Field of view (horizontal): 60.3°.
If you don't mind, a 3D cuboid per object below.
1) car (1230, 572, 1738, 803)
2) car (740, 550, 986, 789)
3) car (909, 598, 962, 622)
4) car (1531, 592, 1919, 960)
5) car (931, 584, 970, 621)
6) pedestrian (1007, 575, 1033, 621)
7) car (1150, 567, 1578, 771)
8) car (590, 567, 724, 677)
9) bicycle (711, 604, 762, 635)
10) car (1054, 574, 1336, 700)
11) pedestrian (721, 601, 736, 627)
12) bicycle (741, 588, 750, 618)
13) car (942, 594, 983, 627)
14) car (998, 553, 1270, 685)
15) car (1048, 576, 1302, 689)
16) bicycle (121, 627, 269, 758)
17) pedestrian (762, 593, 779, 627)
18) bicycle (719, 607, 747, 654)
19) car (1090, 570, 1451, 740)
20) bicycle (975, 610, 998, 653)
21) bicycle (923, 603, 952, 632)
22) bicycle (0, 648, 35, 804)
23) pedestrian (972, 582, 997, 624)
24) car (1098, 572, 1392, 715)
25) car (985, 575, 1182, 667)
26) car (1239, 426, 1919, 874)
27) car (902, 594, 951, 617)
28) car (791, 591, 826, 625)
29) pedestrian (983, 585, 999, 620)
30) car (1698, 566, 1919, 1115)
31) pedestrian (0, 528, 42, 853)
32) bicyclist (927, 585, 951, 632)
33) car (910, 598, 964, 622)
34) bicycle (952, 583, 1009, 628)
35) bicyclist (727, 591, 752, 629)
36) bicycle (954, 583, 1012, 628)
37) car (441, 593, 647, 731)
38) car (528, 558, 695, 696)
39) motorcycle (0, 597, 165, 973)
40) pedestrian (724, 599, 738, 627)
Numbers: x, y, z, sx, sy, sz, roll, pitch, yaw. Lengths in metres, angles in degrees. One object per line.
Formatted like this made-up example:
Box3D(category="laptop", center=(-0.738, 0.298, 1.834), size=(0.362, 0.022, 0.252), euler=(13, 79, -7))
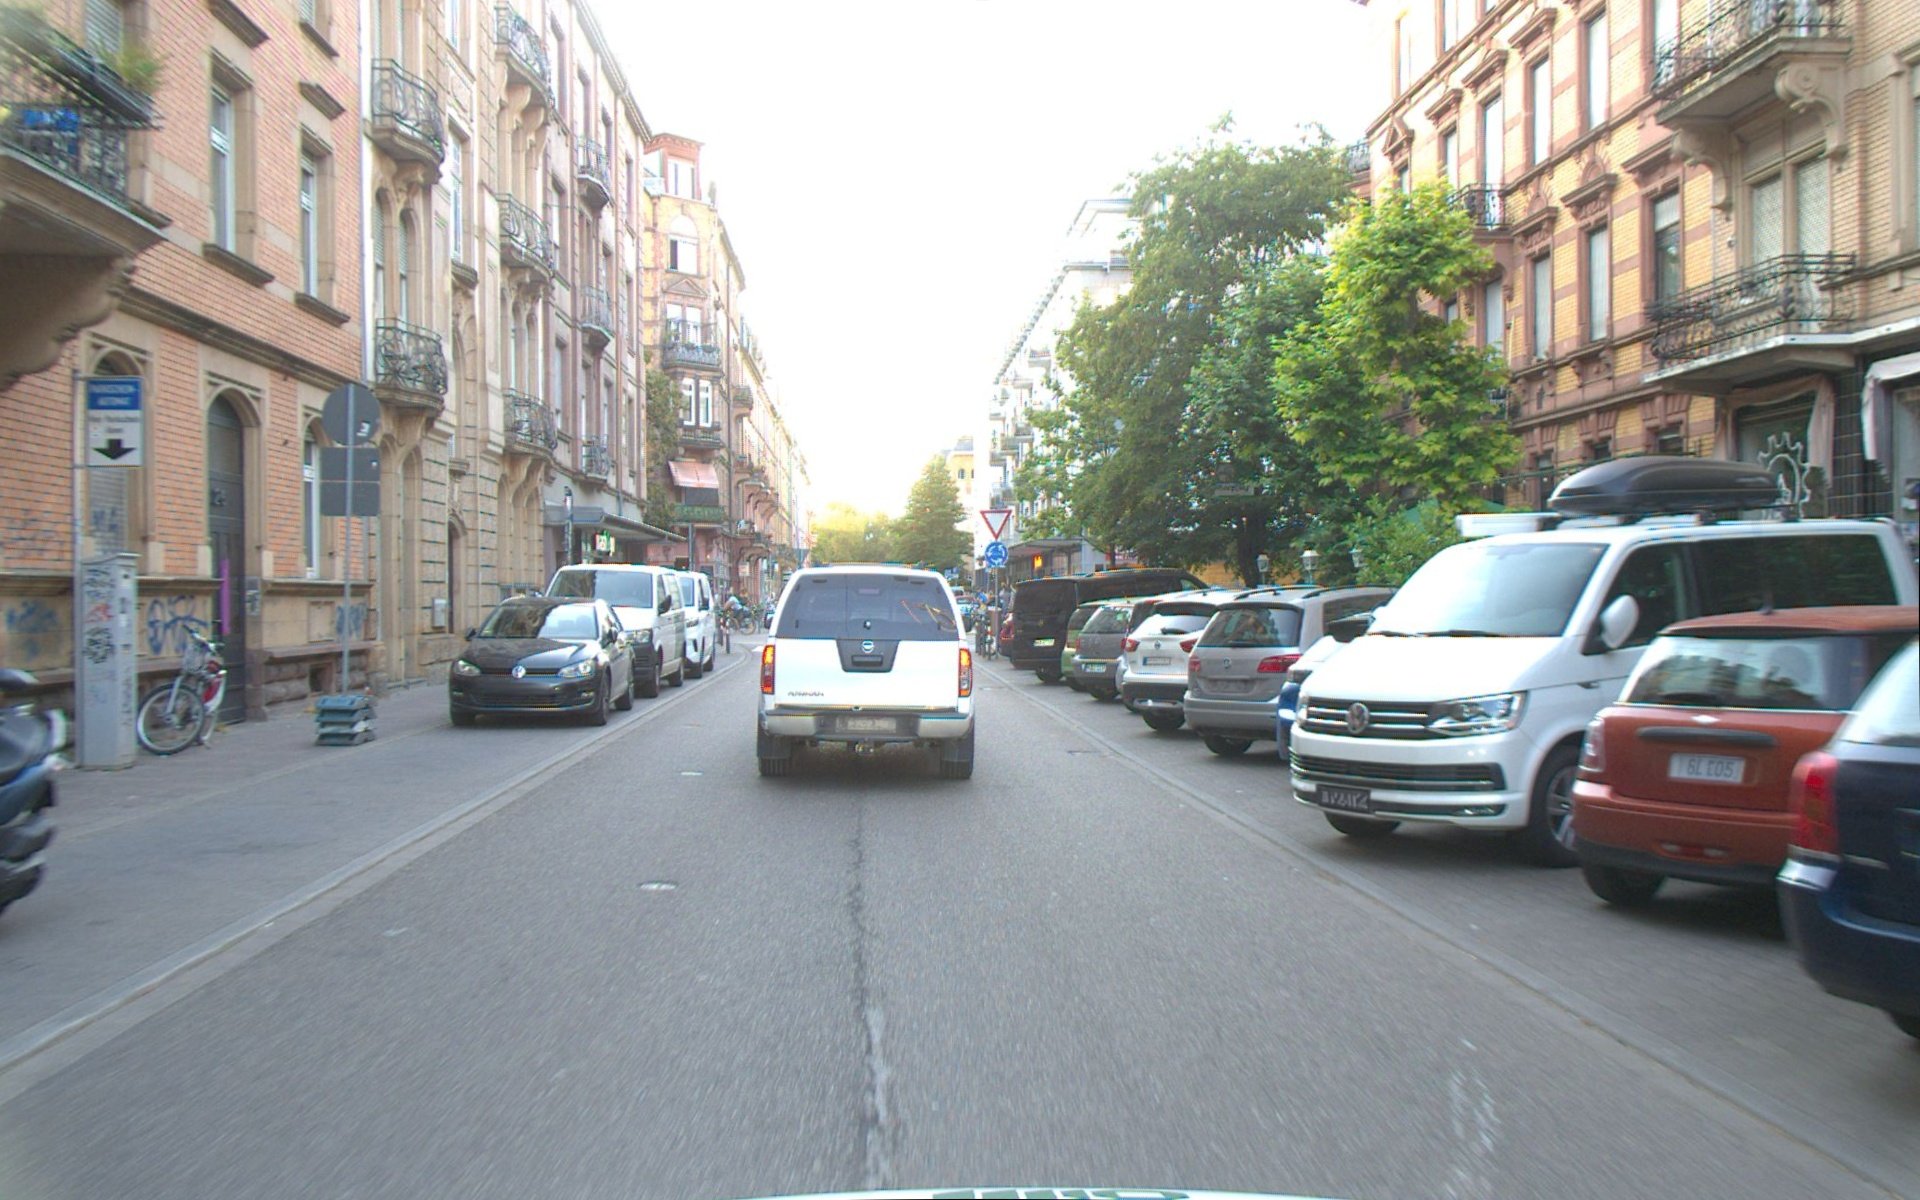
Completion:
Box3D(category="car", center=(4.434, 0.617, 13.840), size=(4.113, 1.618, 1.865), euler=(-1, 1, -32))
Box3D(category="car", center=(-0.734, 0.566, 15.440), size=(1.898, 1.842, 5.001), euler=(1, -1, 0))
Box3D(category="car", center=(-1.894, 0.768, 126.104), size=(3.909, 1.780, 1.839), euler=(1, -1, -5))
Box3D(category="car", center=(4.809, 0.691, 8.426), size=(3.826, 1.433, 1.736), euler=(-1, -1, -37))
Box3D(category="car", center=(-0.542, 0.150, 92.576), size=(1.904, 1.967, 3.996), euler=(1, -1, -4))
Box3D(category="pedestrian", center=(2.558, -0.088, 70.211), size=(0.896, 1.918, 0.608), euler=(1, -1, -34))
Box3D(category="car", center=(4.084, 0.585, 16.485), size=(4.118, 1.618, 1.863), euler=(-4, 2, -35))
Box3D(category="car", center=(-5.765, 0.387, 32.022), size=(2.068, 1.955, 5.021), euler=(0, 0, -5))
Box3D(category="bicycle", center=(-8.871, 0.768, 65.650), size=(1.889, 1.192, 0.597), euler=(1, -1, 5))
Box3D(category="car", center=(3.584, 0.514, 24.980), size=(4.063, 1.578, 1.796), euler=(-4, 1, -35))
Box3D(category="pedestrian", center=(-10.818, 0.667, 77.270), size=(0.636, 1.211, 0.539), euler=(1, -1, -7))
Box3D(category="bicycle", center=(-10.539, 0.145, 81.083), size=(0.416, 1.468, 1.901), euler=(1, -1, -8))
Box3D(category="car", center=(0.096, 0.543, 83.821), size=(1.798, 1.569, 3.996), euler=(1, -1, -4))
Box3D(category="car", center=(3.352, 0.294, 30.991), size=(5.392, 2.108, 1.904), euler=(-4, 1, -42))
Box3D(category="car", center=(3.630, 0.504, 27.666), size=(4.063, 1.578, 1.796), euler=(-4, 1, -35))
Box3D(category="bicycle", center=(-7.148, 0.833, 15.554), size=(0.736, 1.120, 2.020), euler=(1, -1, -10))
Box3D(category="pedestrian", center=(-9.386, 0.493, 81.779), size=(0.782, 1.649, 0.943), euler=(1, -1, -6))
Box3D(category="bicycle", center=(-5.819, 0.773, 42.427), size=(0.462, 1.162, 1.784), euler=(1, -1, 0))
Box3D(category="car", center=(3.685, 0.572, 19.383), size=(4.061, 1.618, 1.797), euler=(-4, 1, -35))
Box3D(category="bicycle", center=(0.683, 0.810, 42.830), size=(0.357, 1.082, 1.550), euler=(1, -1, -7))
Box3D(category="bicycle", center=(-0.951, 0.745, 70.598), size=(0.824, 1.192, 1.929), euler=(1, -1, -13))
Box3D(category="bicycle", center=(-6.732, 0.858, 10.807), size=(0.439, 1.048, 1.739), euler=(1, -1, -2))
Box3D(category="pedestrian", center=(1.045, 0.145, 70.229), size=(0.888, 1.767, 0.613), euler=(1, -1, -15))
Box3D(category="car", center=(3.959, 0.537, 22.616), size=(4.074, 1.618, 1.791), euler=(-4, 1, -42))
Box3D(category="car", center=(2.754, 0.424, 36.228), size=(4.189, 1.717, 1.904), euler=(-4, 1, -42))
Box3D(category="car", center=(4.393, 0.217, 10.959), size=(4.870, 2.403, 1.980), euler=(-1, 0, -30))
Box3D(category="car", center=(-2.786, 0.438, 135.664), size=(3.909, 1.780, 1.839), euler=(1, -1, -5))
Box3D(category="car", center=(-8.184, 0.454, 89.577), size=(1.798, 1.780, 3.996), euler=(1, -1, -4))
Box3D(category="pedestrian", center=(1.523, 0.117, 81.064), size=(0.705, 1.692, 0.702), euler=(1, -1, -3))
Box3D(category="car", center=(4.443, 0.634, 5.398), size=(3.814, 1.542, 1.830), euler=(-1, 1, -30))
Box3D(category="pedestrian", center=(-5.862, 0.508, 9.716), size=(0.672, 1.842, 0.955), euler=(1, -1, -22))
Box3D(category="bicyclist", center=(-0.903, 0.351, 70.429), size=(0.824, 1.978, 0.782), euler=(1, -1, -14))
Box3D(category="car", center=(-1.706, 0.749, 123.875), size=(3.909, 1.780, 1.839), euler=(1, -1, -5))
Box3D(category="bicycle", center=(0.966, 0.252, 77.208), size=(2.594, 2.049, 0.637), euler=(1, -1, -3))
Box3D(category="bicyclist", center=(-8.735, 0.384, 65.646), size=(0.852, 1.491, 0.576), euler=(1, -1, 5))
Box3D(category="bicycle", center=(1.052, 0.246, 76.398), size=(2.594, 2.049, 0.637), euler=(1, -1, -3))
Box3D(category="car", center=(-4.921, 0.670, 20.115), size=(1.801, 1.496, 4.168), euler=(0, 0, -5))
Box3D(category="car", center=(-5.334, 0.382, 25.916), size=(1.800, 1.955, 4.843), euler=(0, 0, -3))
Box3D(category="motorcycle", center=(-3.977, 0.700, 6.557), size=(0.671, 1.429, 2.014), euler=(1, -1, -1))
Box3D(category="pedestrian", center=(-10.858, 0.630, 78.456), size=(0.636, 1.308, 0.539), euler=(1, -1, -7))
